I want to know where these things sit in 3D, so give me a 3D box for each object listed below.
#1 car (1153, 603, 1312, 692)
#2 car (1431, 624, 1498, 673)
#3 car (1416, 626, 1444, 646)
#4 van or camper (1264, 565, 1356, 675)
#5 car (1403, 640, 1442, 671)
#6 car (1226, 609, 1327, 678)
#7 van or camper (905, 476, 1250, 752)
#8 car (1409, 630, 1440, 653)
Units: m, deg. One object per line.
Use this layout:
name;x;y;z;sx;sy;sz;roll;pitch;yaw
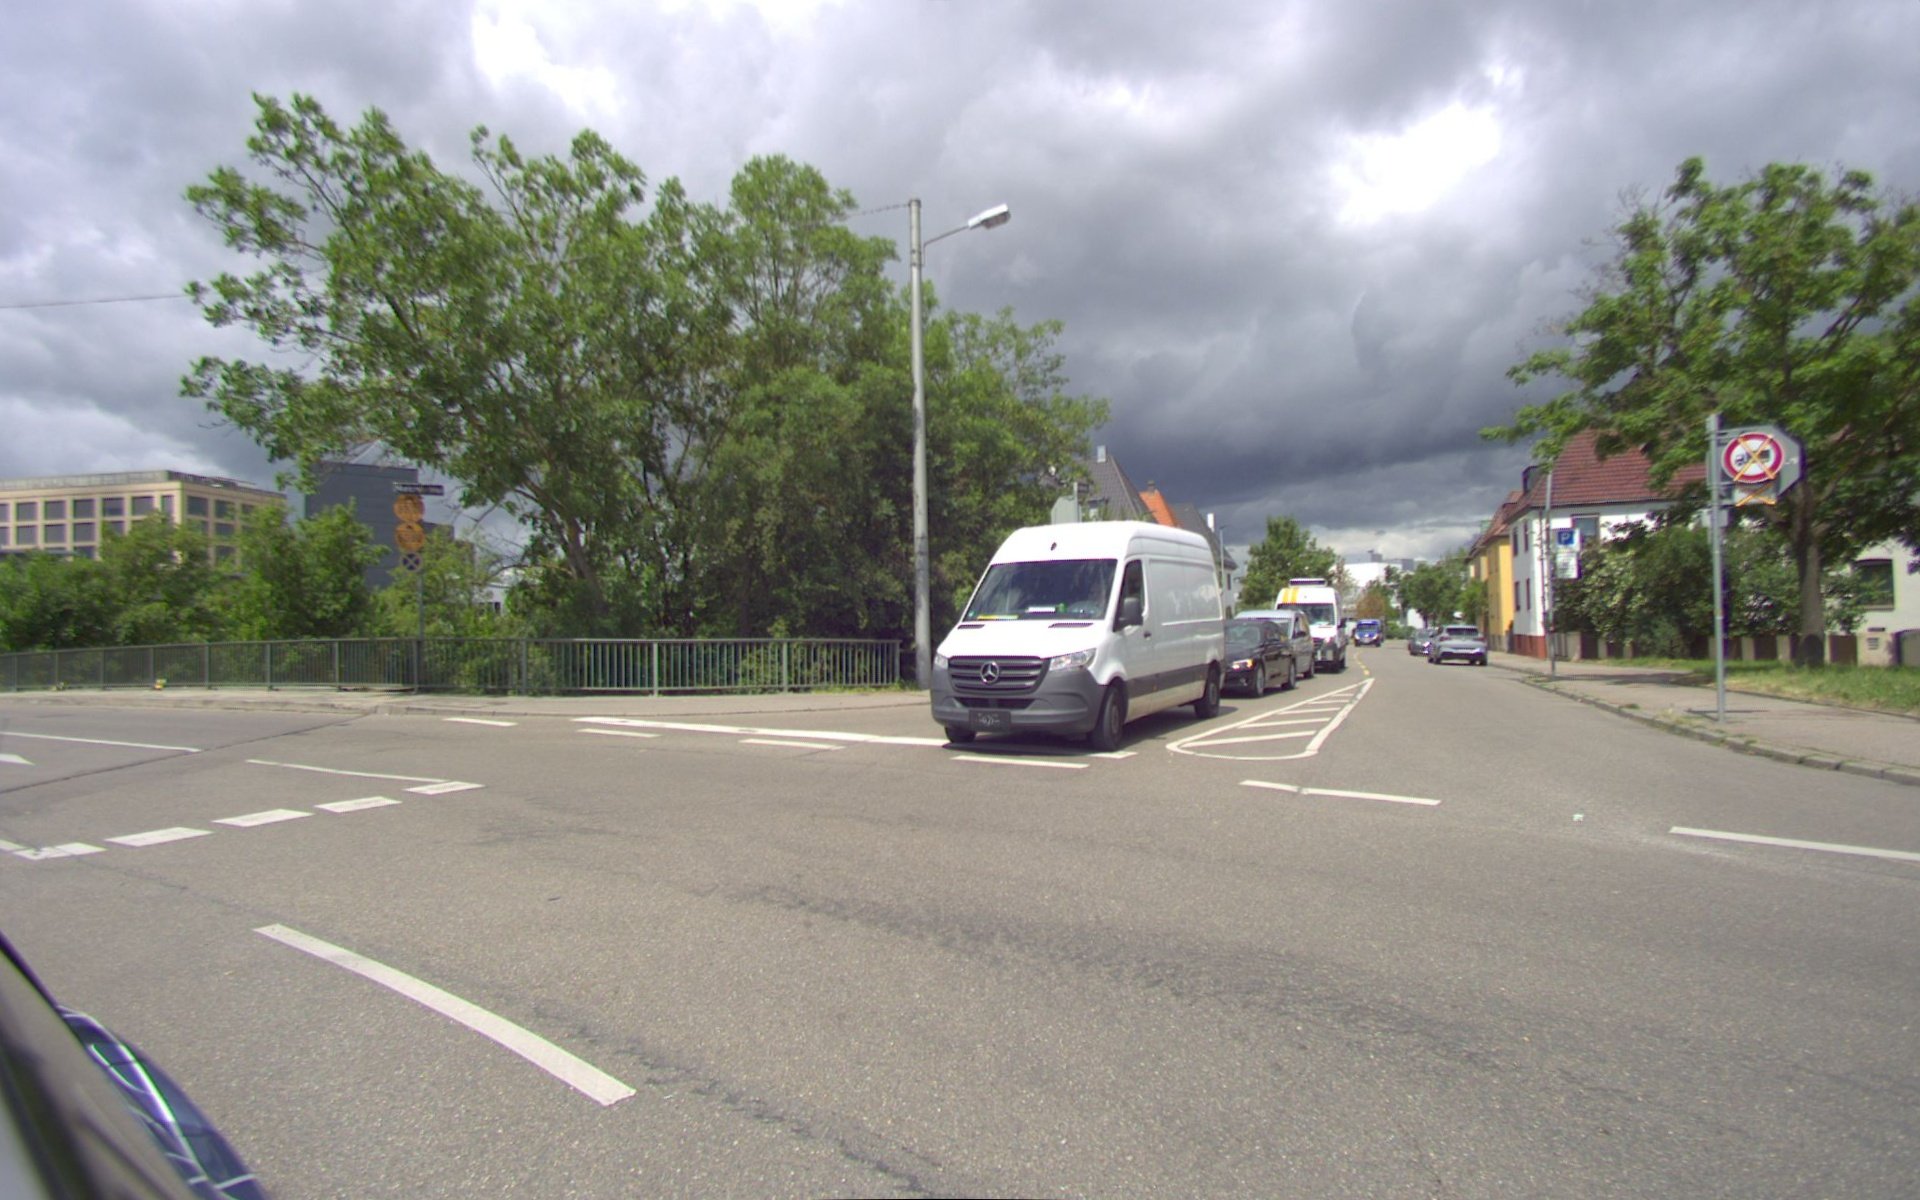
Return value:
car;5.312;0.897;19.366;1.991;1.485;4.188;-2;-3;29
car;20.746;1.964;41.798;2.219;1.821;4.366;-2;-1;24
car;39.649;3.026;85.387;1.988;1.600;4.366;-2;-1;24
van or camper;11.419;0.868;32.629;2.256;3.018;8.262;-2;-5;22
car;27.115;3.244;59.412;1.988;1.600;4.366;-2;-1;24
car;8.248;1.124;26.147;1.988;1.600;4.365;-2;-3;24
van or camper;1.813;0.227;12.611;2.185;2.586;5.868;-1;-2;29
car;35.011;3.142;76.301;1.988;1.600;4.366;-2;-1;24
